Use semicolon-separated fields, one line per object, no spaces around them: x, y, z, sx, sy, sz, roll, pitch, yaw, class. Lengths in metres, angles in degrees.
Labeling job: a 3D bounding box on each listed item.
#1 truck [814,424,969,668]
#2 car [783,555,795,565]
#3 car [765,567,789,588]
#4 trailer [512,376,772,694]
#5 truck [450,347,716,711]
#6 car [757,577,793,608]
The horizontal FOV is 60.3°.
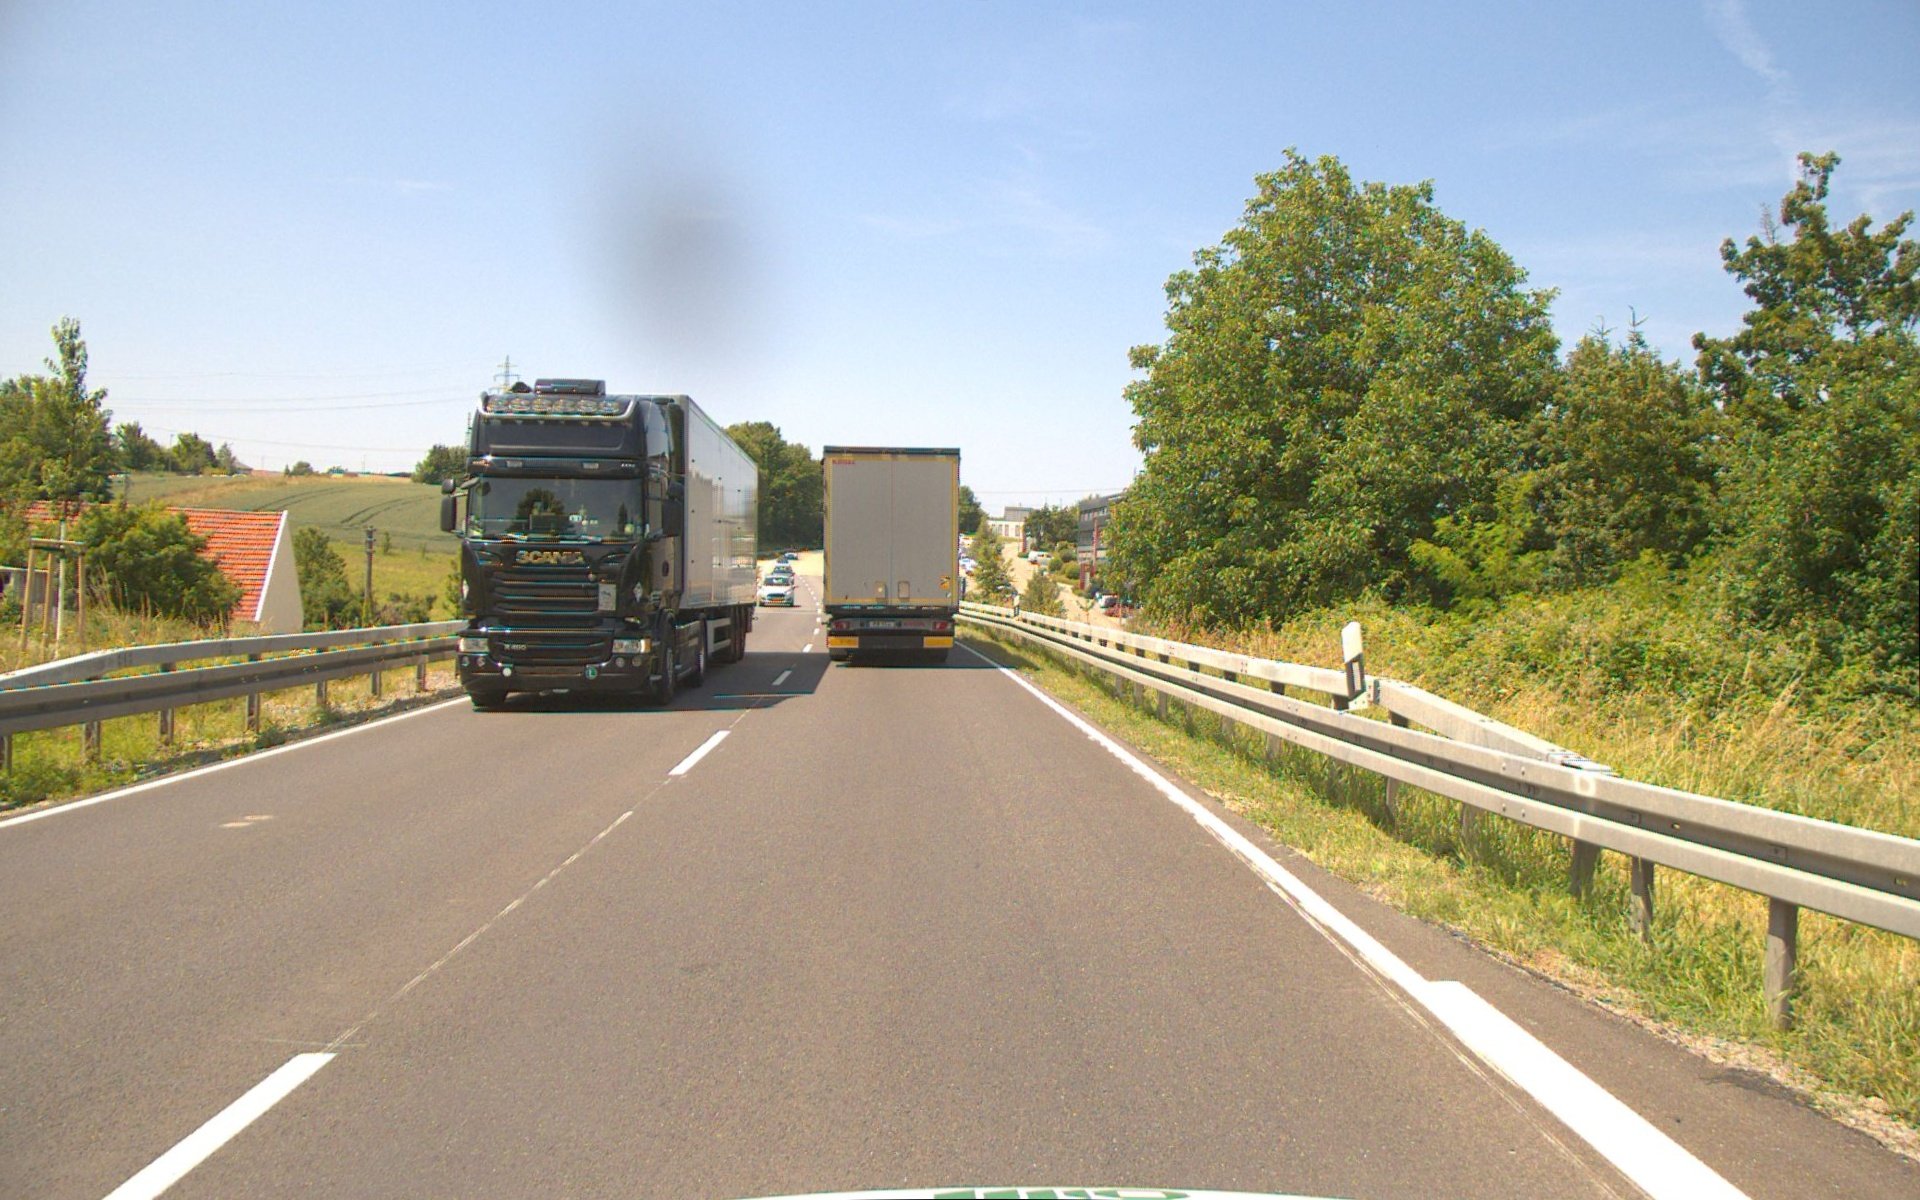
-1.508;-1.013;35.048;2.809;4.435;9.783;0;0;-3;truck
-24.184;-5.664;233.931;1.747;1.460;4.828;0;1;-7;car
-14.109;-1.752;127.738;1.771;1.617;4.375;0;1;-5;car
-5.055;-0.943;29.169;2.396;4.257;14.009;0;1;-2;trailer
-4.846;-0.864;22.267;2.396;4.268;5.647;0;0;-2;truck
-9.036;-0.379;80.887;1.614;1.466;4.154;-1;1;-5;car
